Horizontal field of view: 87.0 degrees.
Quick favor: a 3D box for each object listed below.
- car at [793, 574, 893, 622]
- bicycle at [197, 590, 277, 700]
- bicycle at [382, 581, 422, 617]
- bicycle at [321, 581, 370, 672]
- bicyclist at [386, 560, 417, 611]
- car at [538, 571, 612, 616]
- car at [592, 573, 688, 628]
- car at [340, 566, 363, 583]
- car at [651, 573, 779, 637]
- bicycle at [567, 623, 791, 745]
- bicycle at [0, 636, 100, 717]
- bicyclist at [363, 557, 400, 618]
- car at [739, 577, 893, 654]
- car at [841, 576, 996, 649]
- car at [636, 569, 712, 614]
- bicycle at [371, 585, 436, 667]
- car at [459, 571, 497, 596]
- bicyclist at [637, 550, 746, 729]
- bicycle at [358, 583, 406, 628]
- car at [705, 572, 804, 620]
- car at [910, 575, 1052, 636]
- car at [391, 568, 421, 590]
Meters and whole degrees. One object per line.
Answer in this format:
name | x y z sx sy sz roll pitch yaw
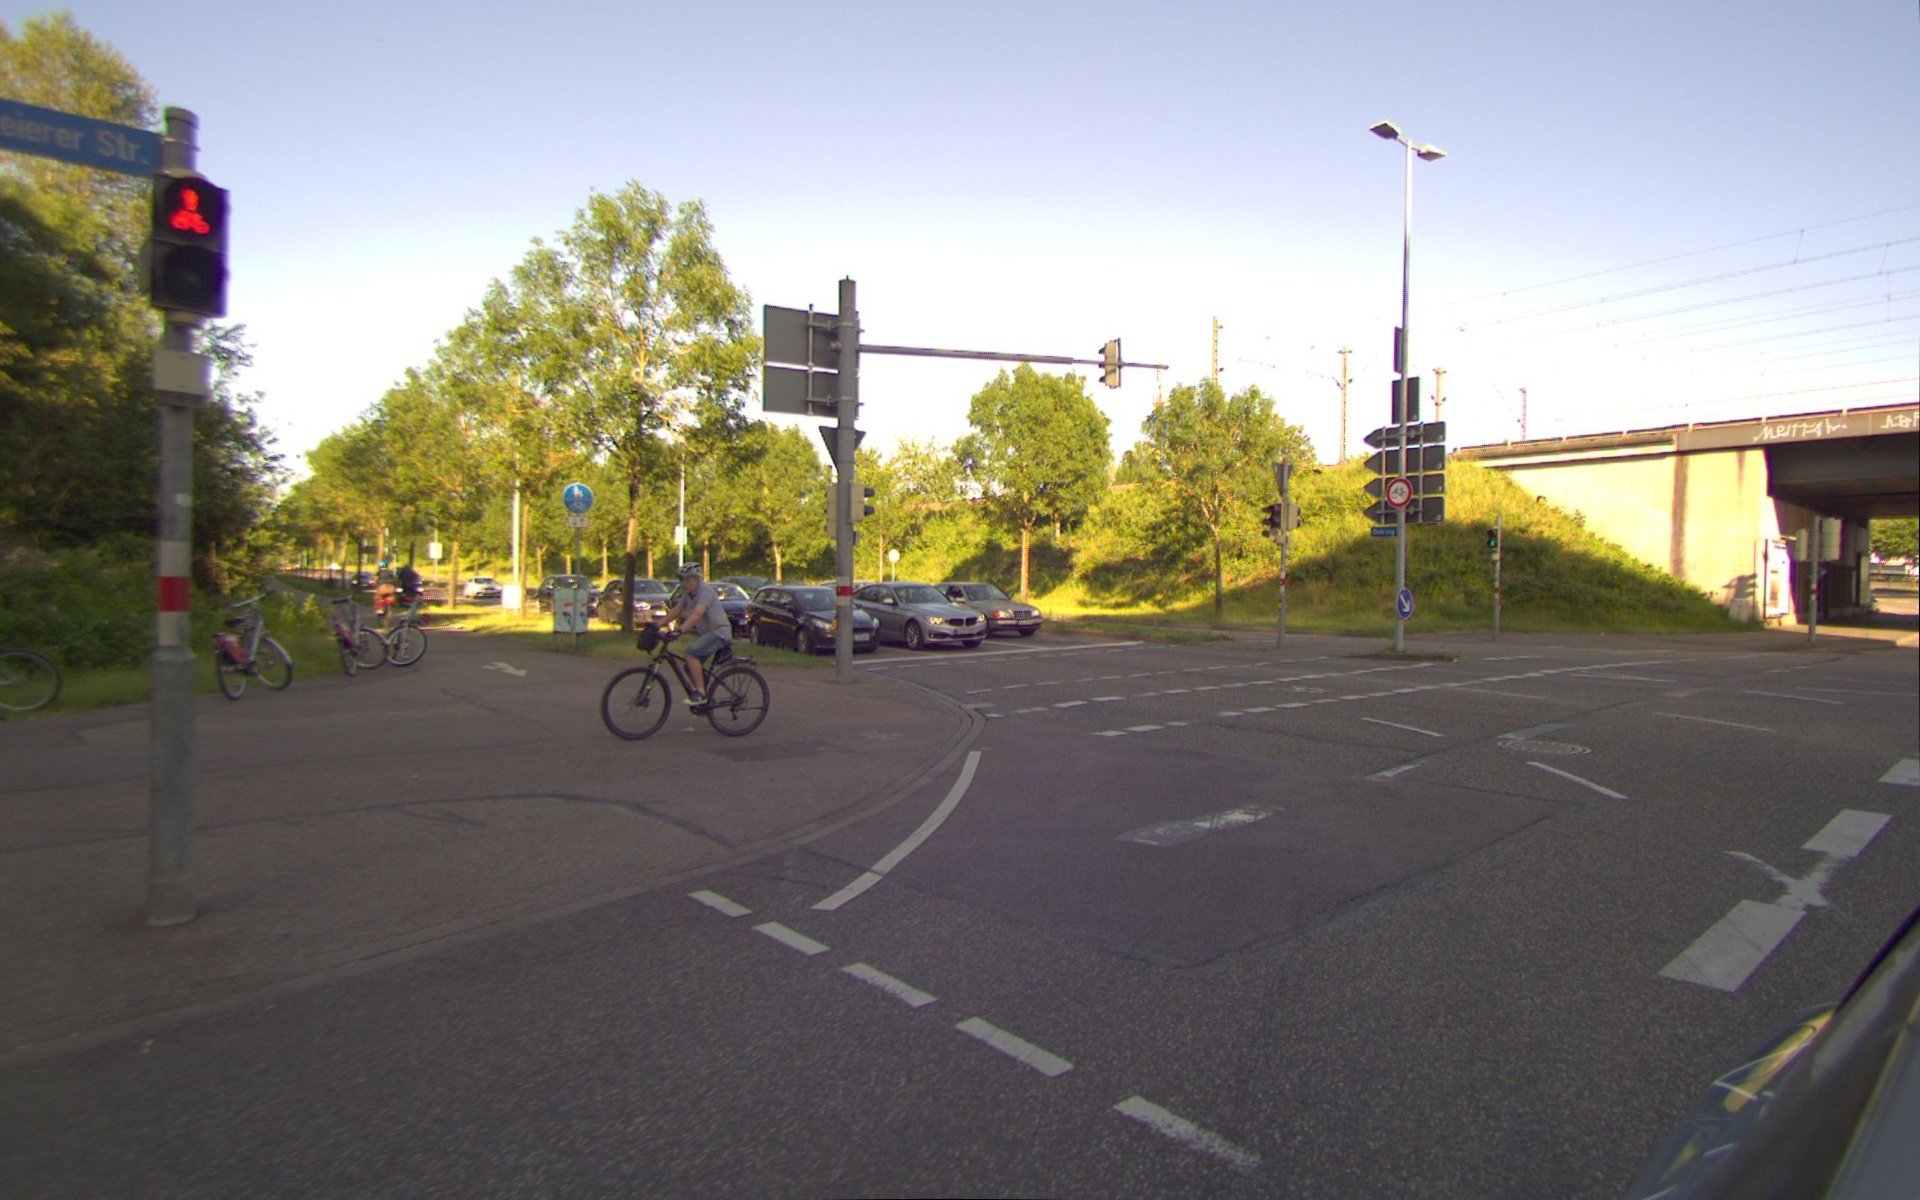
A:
car | -3.978 -0.113 33.908 1.561 1.450 3.999 -2 3 -37
bicycle | -7.906 0.441 11.127 0.445 1.066 1.999 0 1 -28
bicycle | -17.715 -0.042 32.077 0.687 1.049 2.261 3 0 -39
bicycle | -8.430 0.333 13.920 0.445 1.160 1.661 0 1 -27
bicyclist | -17.733 -0.465 32.132 0.687 1.567 0.814 3 0 -39
car | -14.757 -0.280 38.702 1.759 1.548 3.856 -3 3 -35
car | -10.255 -0.045 32.276 1.740 1.548 4.142 -3 3 -35
car | -59.085 -2.486 98.224 1.590 1.548 3.856 -3 3 -35
car | -6.775 0.072 27.757 1.812 1.548 3.913 -3 3 -41
bicycle | -2.645 0.755 9.703 2.011 1.004 0.572 0 1 -41
bicycle | -9.010 0.707 8.851 0.831 0.629 2.186 3 2 15
bicyclist | -15.025 -0.325 26.291 0.687 1.527 0.664 3 0 -39
car | -3.324 0.267 22.791 1.772 1.493 4.000 -2 3 -36
car | -1.064 0.222 23.858 1.782 1.493 4.001 -2 3 -35
car | -10.857 -0.356 38.228 1.590 1.548 3.856 -3 3 -35
bicycle | -8.542 0.371 15.605 0.685 1.119 2.267 3 0 -25
car | -31.734 -1.134 66.575 1.590 1.548 3.856 -3 3 -35
bicyclist | -2.577 0.350 9.729 0.850 1.630 0.566 0 1 -41
bicycle | -15.031 0.128 26.286 0.687 1.049 2.261 3 0 -39
car | -6.514 -0.169 31.805 1.468 1.376 3.999 -2 3 -37
car | 0.492 0.092 27.321 1.783 1.450 4.000 -2 3 -36
car | -41.320 -1.574 75.442 1.590 1.548 3.856 -3 3 -35
